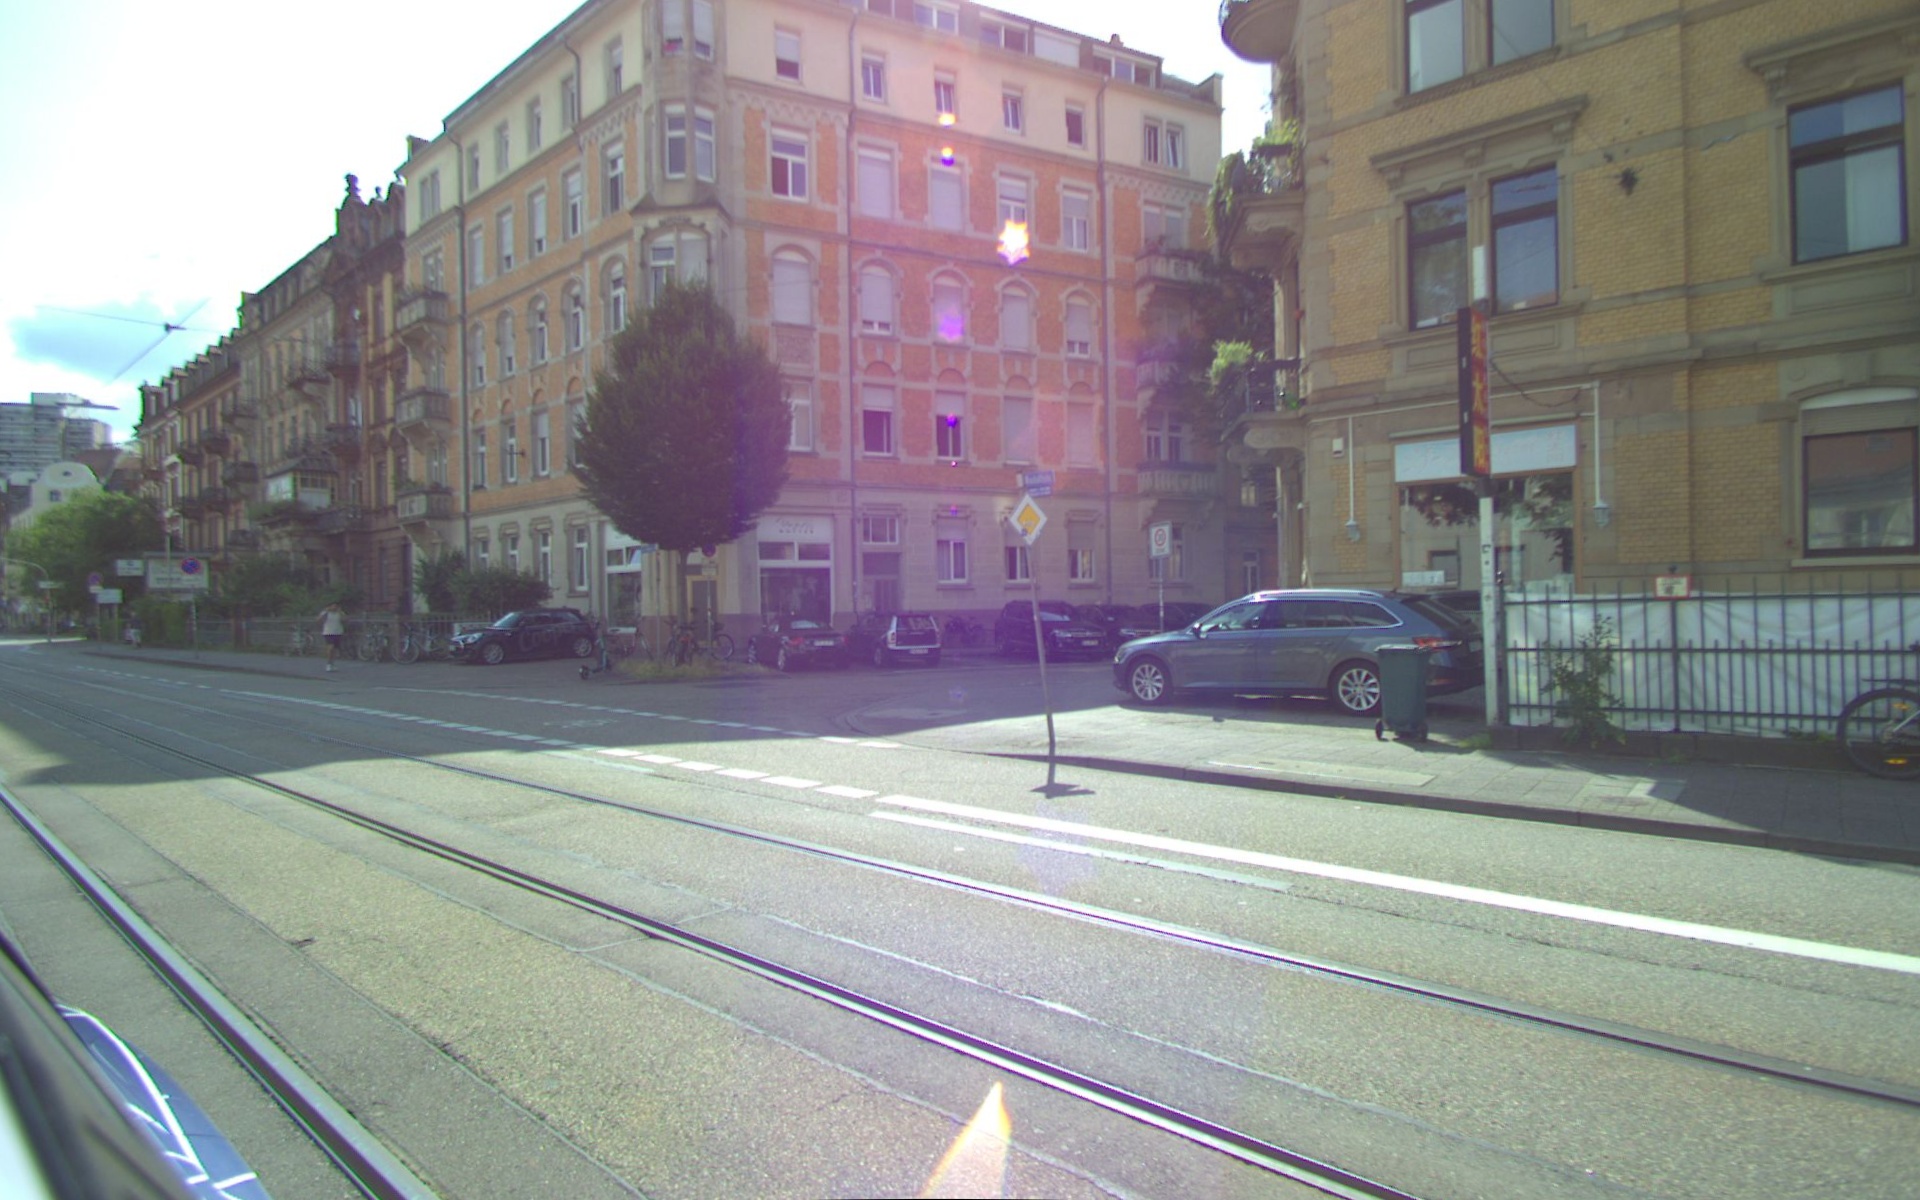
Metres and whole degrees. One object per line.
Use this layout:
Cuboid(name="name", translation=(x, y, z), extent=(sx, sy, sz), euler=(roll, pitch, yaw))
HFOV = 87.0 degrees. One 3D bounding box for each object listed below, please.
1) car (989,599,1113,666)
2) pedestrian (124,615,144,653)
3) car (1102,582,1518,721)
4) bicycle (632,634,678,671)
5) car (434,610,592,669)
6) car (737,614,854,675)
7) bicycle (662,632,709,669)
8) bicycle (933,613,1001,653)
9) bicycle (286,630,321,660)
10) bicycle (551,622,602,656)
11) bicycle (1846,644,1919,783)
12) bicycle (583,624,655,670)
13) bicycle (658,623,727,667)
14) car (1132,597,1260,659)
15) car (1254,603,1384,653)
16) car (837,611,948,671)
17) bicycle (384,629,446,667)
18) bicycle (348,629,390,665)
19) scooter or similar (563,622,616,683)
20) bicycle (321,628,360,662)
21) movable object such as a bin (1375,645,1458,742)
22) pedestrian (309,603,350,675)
Cuboid(name="car", translation=(2.473, 0.874, 28.475), extent=(1.591, 1.734, 4.013), euler=(-1, -1, -26))
Cuboid(name="pedestrian", translation=(-38.212, 1.560, 46.820), extent=(1.150, 1.716, 0.483), euler=(-2, -1, 39))
Cuboid(name="car", translation=(4.285, 0.591, 12.966), extent=(4.762, 1.470, 1.668), euler=(-1, -1, 41))
Cuboid(name="bicycle", translation=(-7.328, 1.249, 24.257), extent=(0.516, 0.844, 1.702), euler=(-1, -1, -36))
Cuboid(name="car", translation=(-12.270, 1.040, 27.875), extent=(3.562, 1.413, 1.788), euler=(-2, 0, -45))
Cuboid(name="car", translation=(-4.228, 1.078, 25.519), extent=(1.616, 1.370, 3.938), euler=(-1, -1, -30))
Cuboid(name="bicycle", translation=(-6.605, 1.204, 24.327), extent=(0.516, 0.844, 1.702), euler=(-1, -1, -36))
Cuboid(name="bicycle", translation=(0.239, 1.043, 32.637), extent=(2.144, 1.218, 0.626), euler=(-1, -1, -31))
Cuboid(name="bicycle", translation=(-21.394, 1.447, 32.970), extent=(1.948, 0.939, 0.417), euler=(-2, -1, 41))
Cuboid(name="bicycle", translation=(-11.838, 1.189, 31.273), extent=(0.404, 0.984, 1.437), euler=(-2, -1, 41))
Cuboid(name="bicycle", translation=(7.386, 0.799, 6.926), extent=(1.967, 0.954, 0.524), euler=(-1, -1, 41))
Cuboid(name="bicycle", translation=(-8.625, 1.172, 25.649), extent=(0.523, 1.071, 1.738), euler=(-2, -1, 35))
Cuboid(name="bicycle", translation=(-7.043, 1.169, 26.703), extent=(1.671, 1.071, 0.525), euler=(-1, -1, -38))
Cuboid(name="car", translation=(7.101, 0.833, 30.902), extent=(1.591, 1.734, 4.013), euler=(-1, -1, -26))
Cuboid(name="car", translation=(11.635, 0.886, 33.069), extent=(1.591, 1.508, 4.013), euler=(-1, -1, -26))
Cuboid(name="car", translation=(-1.859, 1.053, 26.794), extent=(1.616, 1.426, 3.800), euler=(-1, -1, -26))
Cuboid(name="bicycle", translation=(-14.754, 1.287, 27.426), extent=(0.404, 0.984, 1.437), euler=(-2, -1, 41))
Cuboid(name="bicycle", translation=(-16.840, 1.325, 28.836), extent=(1.948, 0.984, 0.417), euler=(-2, -1, 41))
Cuboid(name="scooter or similar", translation=(-8.139, 1.135, 22.284), extent=(0.400, 1.244, 1.360), euler=(-1, 0, 12))
Cuboid(name="bicycle", translation=(-18.493, 1.330, 30.182), extent=(1.948, 0.984, 0.417), euler=(-2, -1, 41))
Cuboid(name="movable object such as a bin", translation=(4.597, 0.917, 10.188), extent=(0.635, 0.912, 0.520), euler=(-2, -1, 40))
Cuboid(name="pedestrian", translation=(-16.109, 0.990, 25.847), extent=(1.105, 1.773, 0.527), euler=(-2, 1, 41))
